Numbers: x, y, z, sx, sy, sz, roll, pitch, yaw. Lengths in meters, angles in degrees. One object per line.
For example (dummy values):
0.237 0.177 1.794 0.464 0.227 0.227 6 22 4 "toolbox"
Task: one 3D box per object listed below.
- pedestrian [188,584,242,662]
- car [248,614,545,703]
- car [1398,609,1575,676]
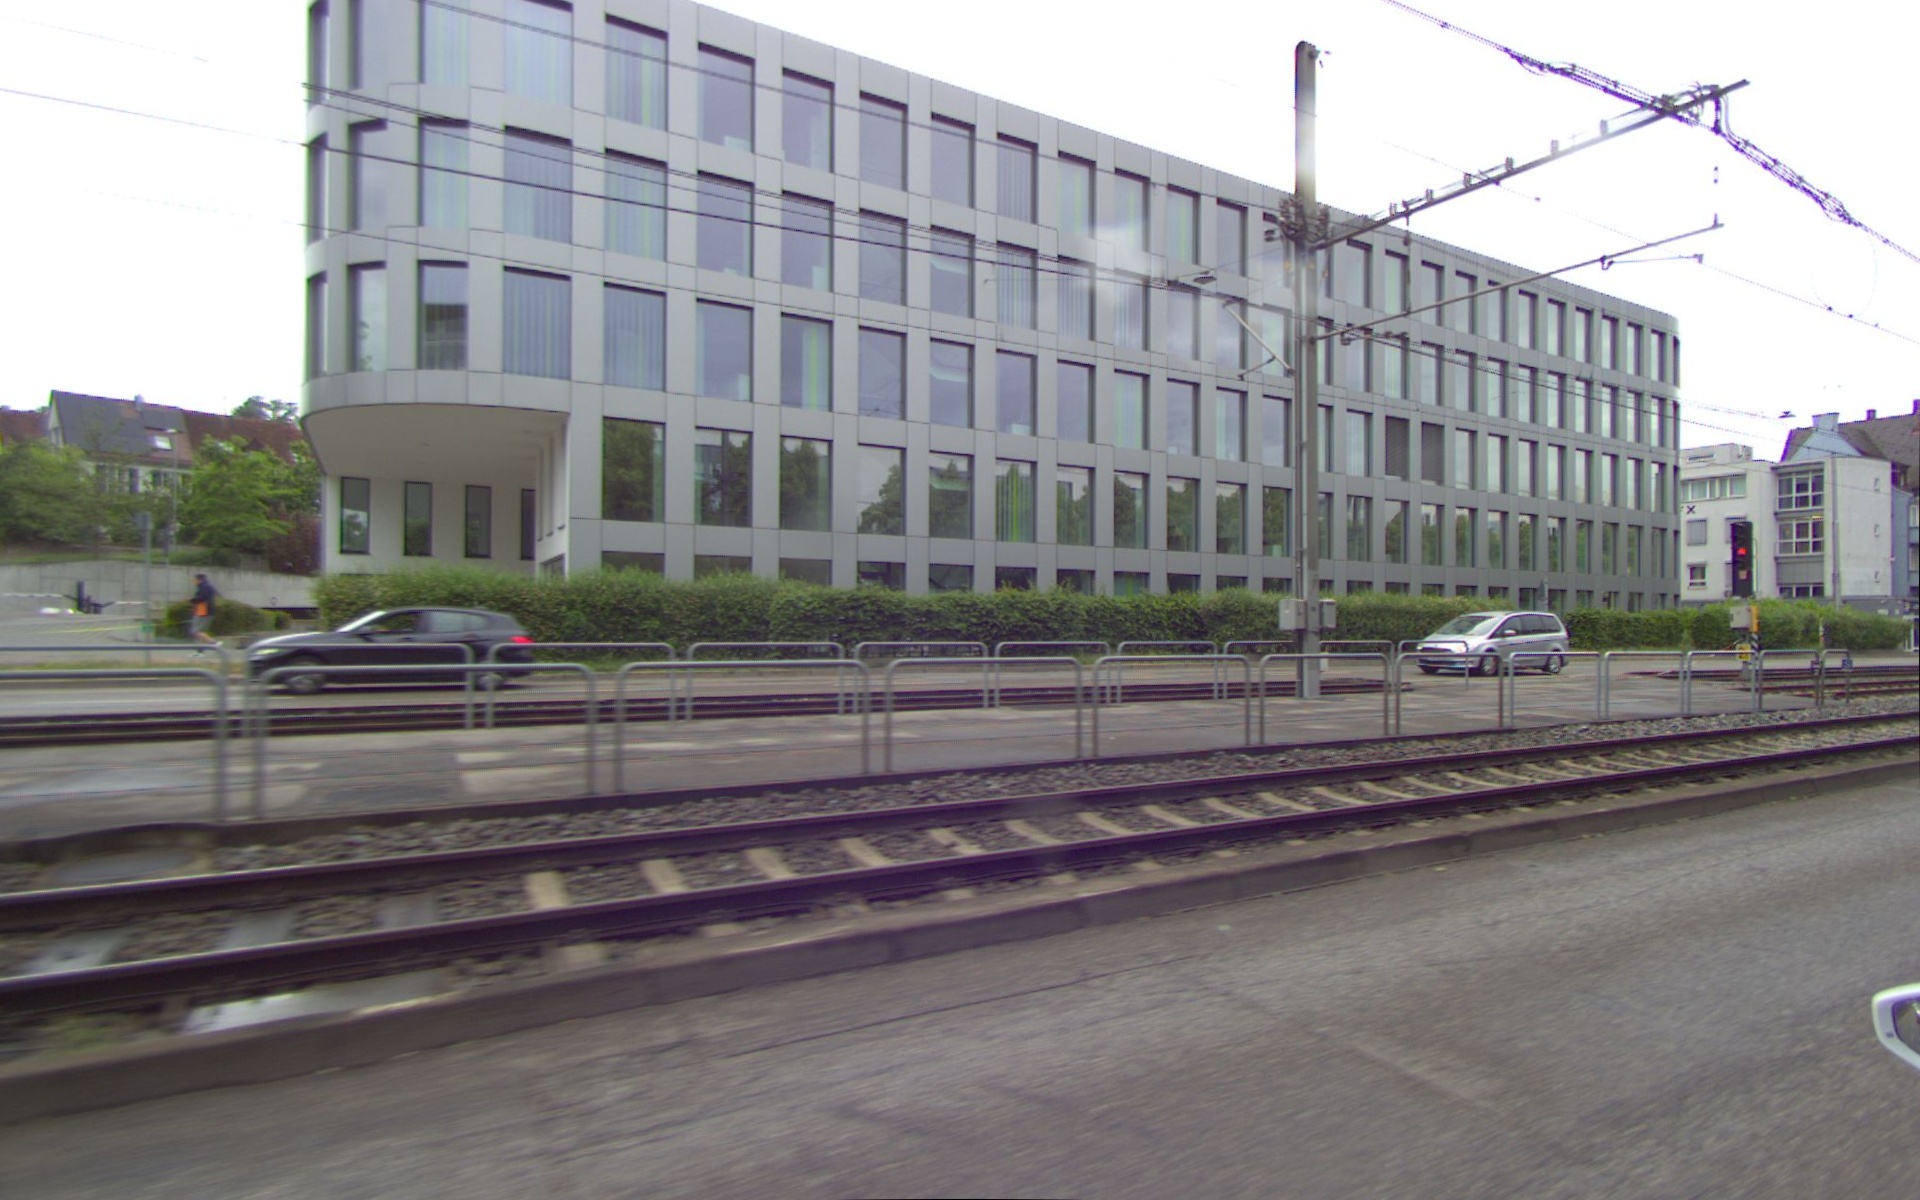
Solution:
-16.387 0.503 22.100 0.835 1.670 0.720 1 0 -29 "pedestrian"
-9.469 0.936 17.155 4.209 1.365 1.789 1 -1 -30 "car"
14.111 1.100 26.858 4.824 1.666 1.894 1 -1 -29 "car"
